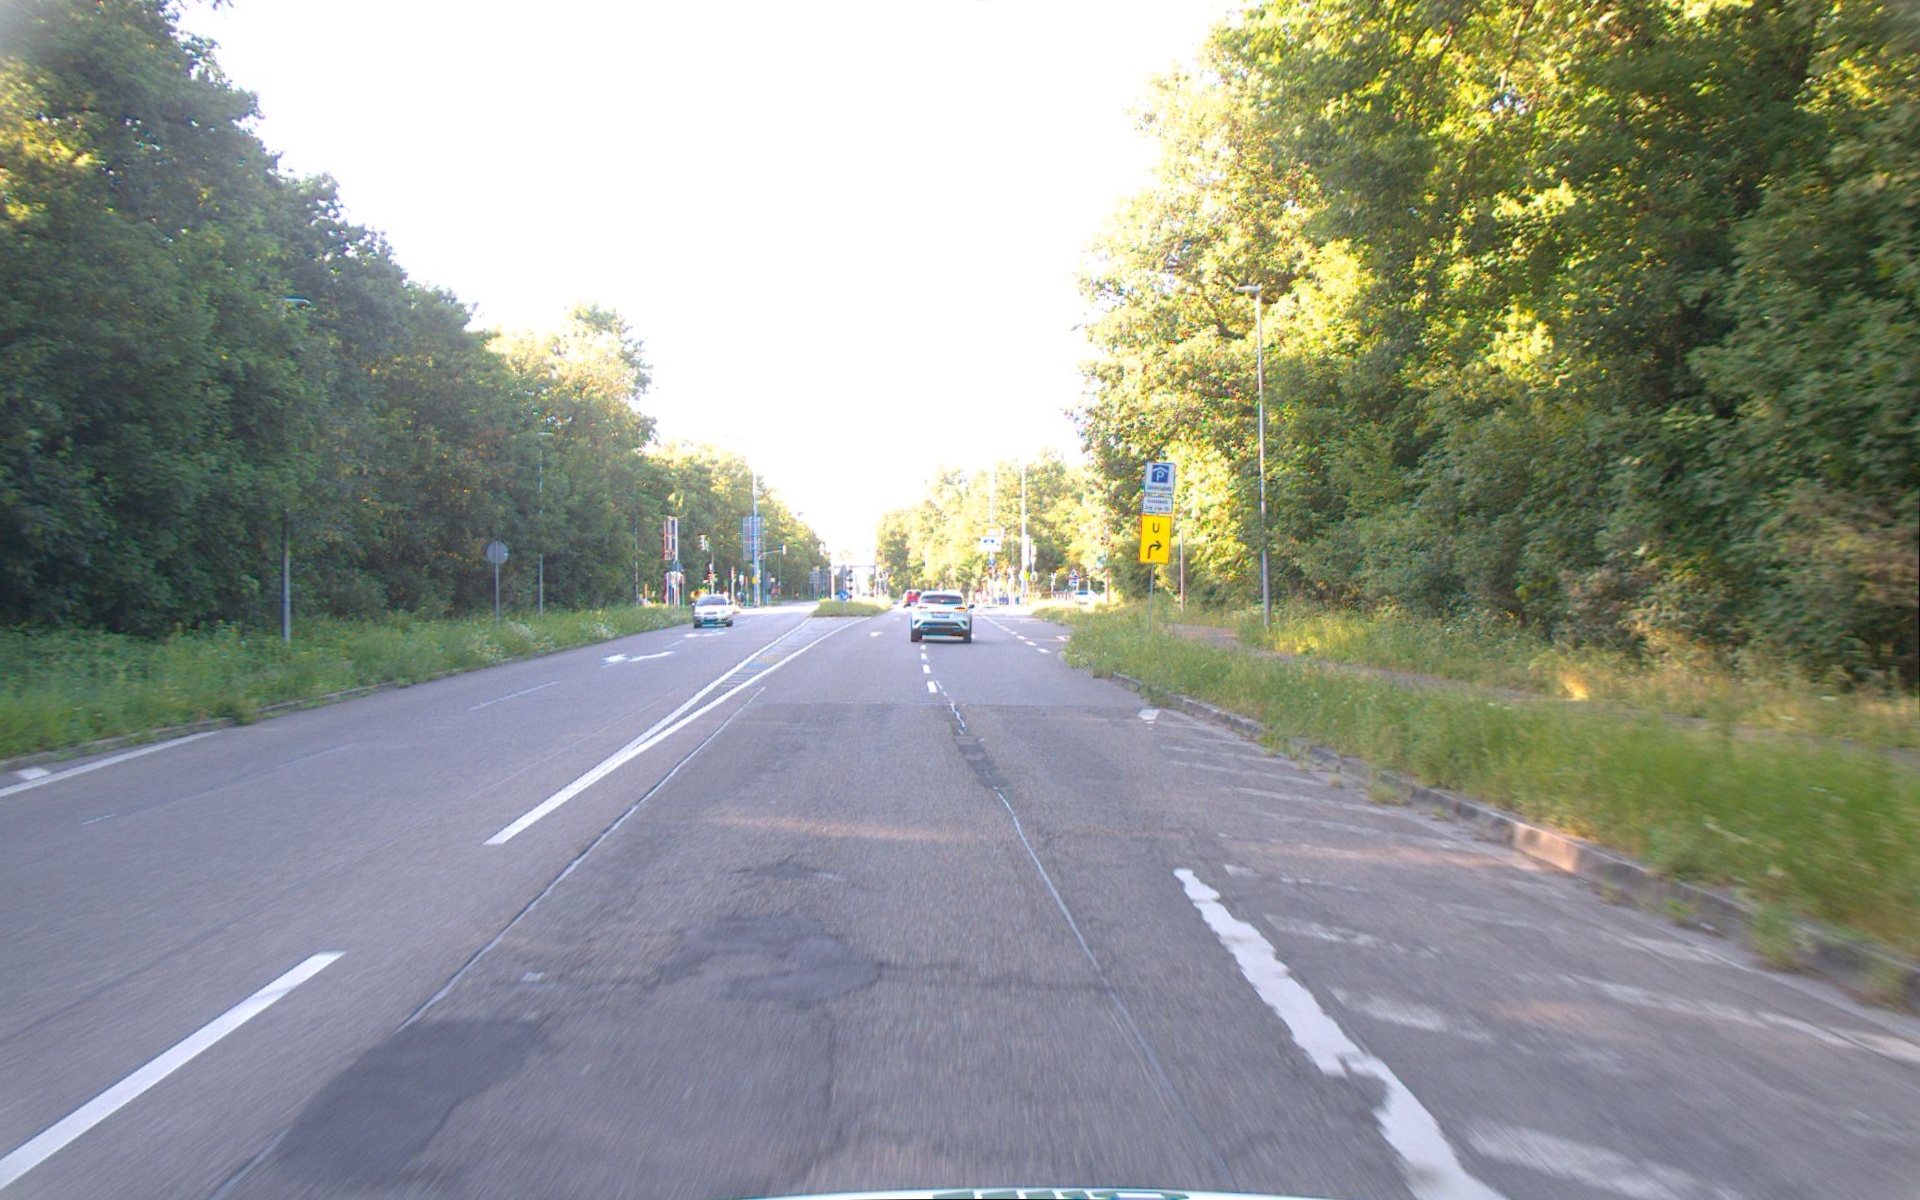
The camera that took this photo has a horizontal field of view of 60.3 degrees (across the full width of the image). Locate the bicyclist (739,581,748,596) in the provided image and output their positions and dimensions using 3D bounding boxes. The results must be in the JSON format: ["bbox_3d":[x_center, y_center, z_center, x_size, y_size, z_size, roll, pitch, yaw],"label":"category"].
[{"bbox_3d":[-21.027,-1.111,160.312,0.700,1.379,0.991,0,0,2],"label":"bicyclist"}]

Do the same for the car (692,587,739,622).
[{"bbox_3d":[-11.290,0.184,76.637,1.793,1.480,4.476,-3,1,-5],"label":"car"}]

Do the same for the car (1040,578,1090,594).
[{"bbox_3d":[10.817,-1.402,169.898,4.752,1.608,1.986,-1,1,-23],"label":"car"}]

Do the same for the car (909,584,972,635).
[{"bbox_3d":[-0.610,0.253,49.854,1.825,1.469,3.999,0,1,-1],"label":"car"}]

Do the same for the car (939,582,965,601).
[{"bbox_3d":[-0.623,-0.645,126.102,1.900,1.439,4.000,0,1,0],"label":"car"}]

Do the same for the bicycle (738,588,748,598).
[{"bbox_3d":[-21.025,-0.670,160.319,0.700,0.930,1.911,0,1,2],"label":"bicycle"}]

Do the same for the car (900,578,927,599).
[{"bbox_3d":[-3.787,-0.941,133.601,1.955,1.714,3.996,-1,1,-5],"label":"car"}]
